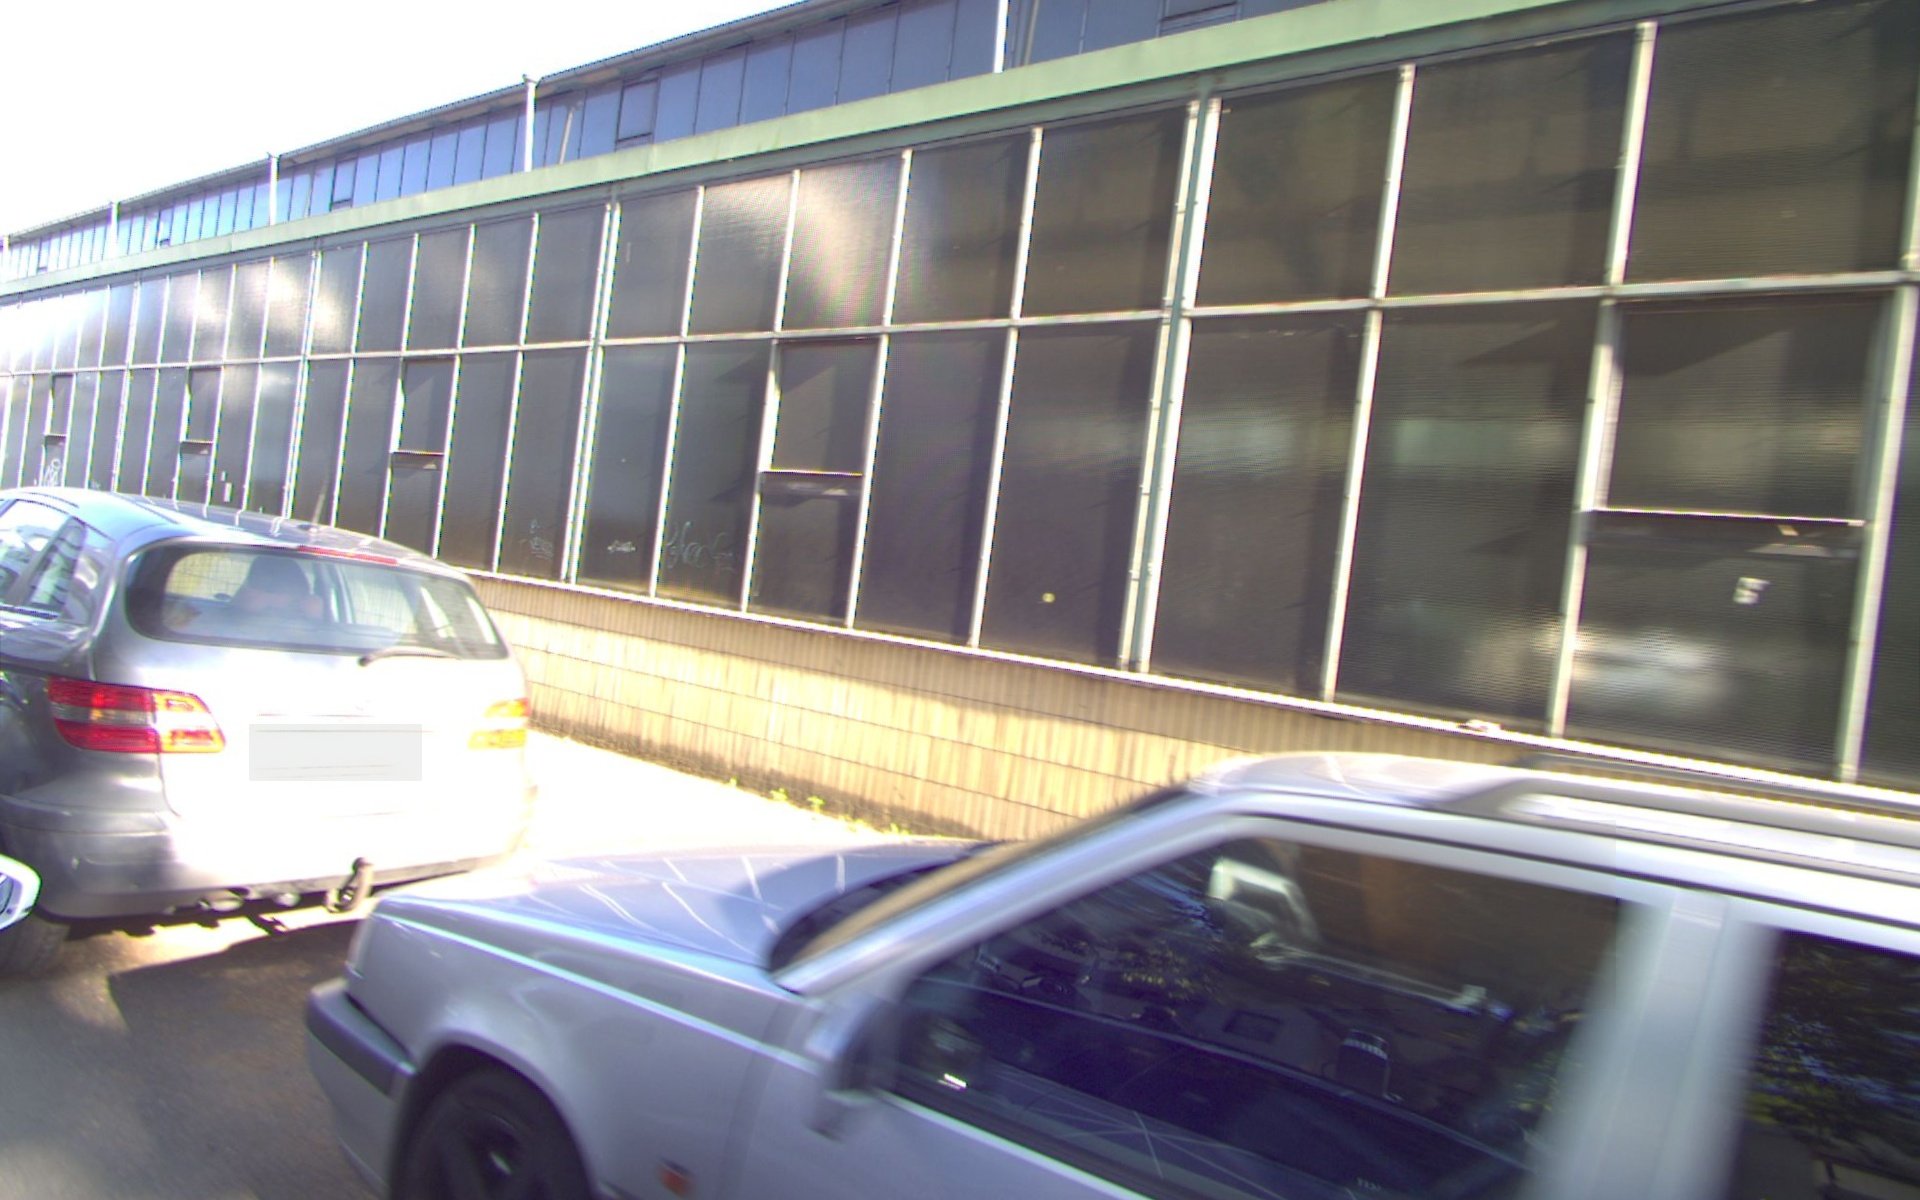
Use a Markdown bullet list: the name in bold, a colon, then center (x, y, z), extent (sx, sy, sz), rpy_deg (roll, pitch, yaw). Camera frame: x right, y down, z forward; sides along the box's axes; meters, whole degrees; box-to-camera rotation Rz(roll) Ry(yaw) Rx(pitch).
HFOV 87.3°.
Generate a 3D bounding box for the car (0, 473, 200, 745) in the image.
- **car**: center (-7.465, -0.117, 7.208), extent (3.934, 1.654, 1.754), rpy_deg (6, -1, 31)

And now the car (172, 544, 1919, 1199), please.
- **car**: center (0.776, 0.934, 1.813), extent (4.453, 1.511, 1.904), rpy_deg (6, -1, 31)

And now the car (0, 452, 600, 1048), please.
- **car**: center (-3.856, 0.306, 4.683), extent (4.239, 1.654, 1.753), rpy_deg (6, -1, 33)
